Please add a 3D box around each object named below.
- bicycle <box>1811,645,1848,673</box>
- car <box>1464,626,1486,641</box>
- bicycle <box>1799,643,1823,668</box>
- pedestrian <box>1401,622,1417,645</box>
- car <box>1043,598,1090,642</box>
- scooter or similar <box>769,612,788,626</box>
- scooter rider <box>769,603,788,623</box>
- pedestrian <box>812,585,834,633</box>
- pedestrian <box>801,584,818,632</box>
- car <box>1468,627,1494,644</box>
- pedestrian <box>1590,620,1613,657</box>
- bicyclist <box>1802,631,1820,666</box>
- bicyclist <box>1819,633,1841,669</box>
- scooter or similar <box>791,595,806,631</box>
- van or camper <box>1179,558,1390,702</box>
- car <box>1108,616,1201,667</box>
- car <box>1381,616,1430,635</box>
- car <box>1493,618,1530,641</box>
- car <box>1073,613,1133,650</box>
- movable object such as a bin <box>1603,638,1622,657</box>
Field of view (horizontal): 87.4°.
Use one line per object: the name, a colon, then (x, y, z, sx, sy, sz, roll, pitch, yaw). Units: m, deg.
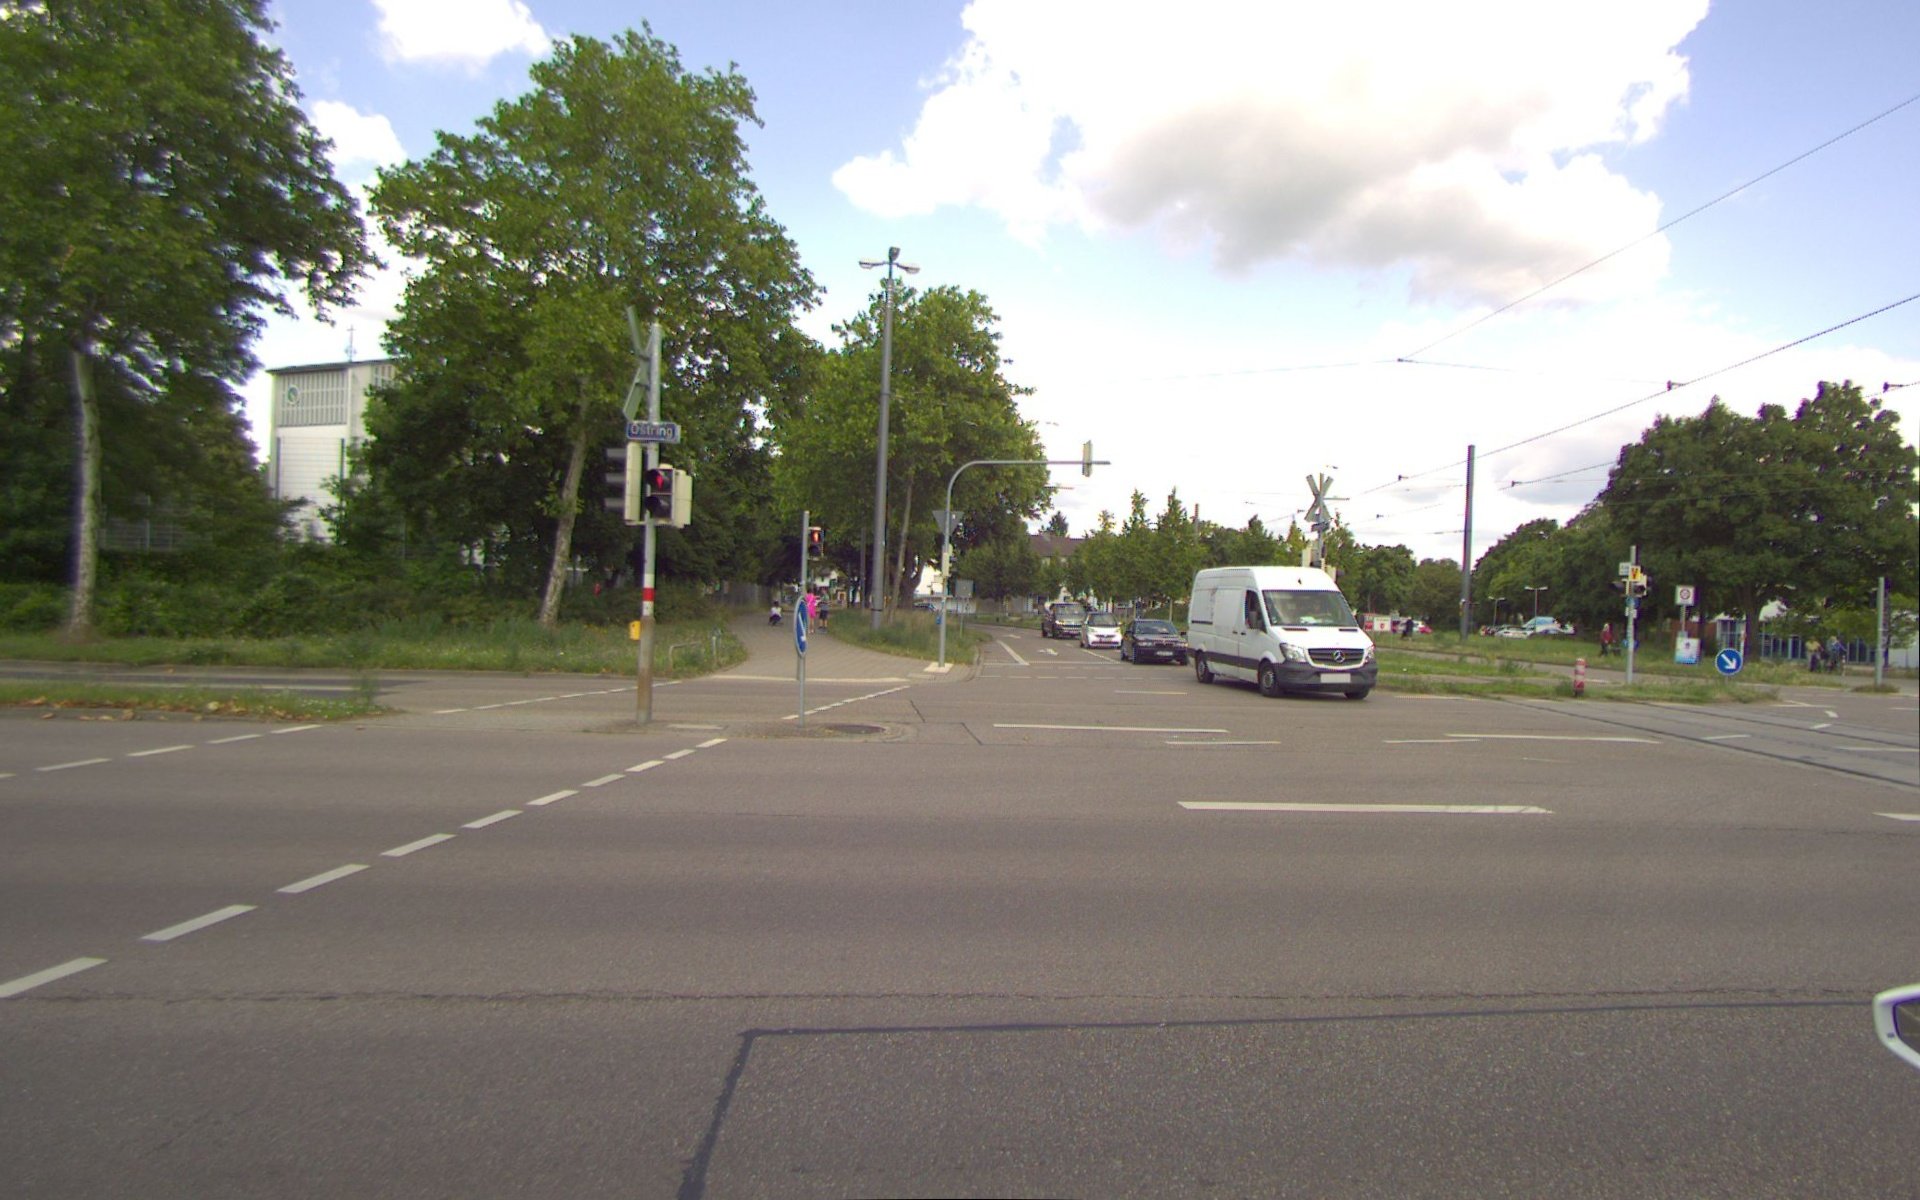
bicycle: (38.620, 2.620, 44.612, 0.551, 1.145, 1.381, 2, 0, 7)
car: (64.127, 4.175, 125.152, 1.961, 1.662, 4.389, 2, 0, 22)
bicycle: (39.896, 2.592, 47.092, 0.552, 1.145, 1.378, 2, 0, 29)
pedestrian: (27.194, 1.996, 60.819, 0.638, 1.372, 0.752, 0, 0, -3)
car: (5.690, 1.034, 54.116, 1.819, 2.184, 4.381, 2, 0, -2)
scooter or similar: (-6.863, 0.718, 37.962, 0.599, 0.518, 0.857, 0, 0, -3)
scooter rider: (-6.860, 0.482, 37.960, 0.600, 0.738, 0.859, 0, 0, -2)
pedestrian: (-4.825, 0.316, 35.476, 0.620, 1.641, 0.611, 1, 0, 5)
pedestrian: (-5.205, 0.262, 34.706, 0.413, 1.641, 0.596, 1, 0, 6)
car: (55.159, 3.694, 106.408, 1.961, 1.662, 4.389, 2, 0, 22)
pedestrian: (28.965, 1.726, 45.368, 0.603, 1.666, 0.636, 0, 0, -17)
bicyclist: (39.900, 2.266, 47.081, 0.478, 1.574, 0.555, 3, 1, 28)
bicyclist: (38.643, 2.259, 44.618, 0.477, 1.574, 0.556, 2, 0, 8)
scooter or similar: (-5.608, 0.440, 34.892, 0.315, 1.248, 0.776, 0, 0, 8)
van or camper: (6.483, 0.552, 21.028, 1.945, 2.558, 6.031, 0, 0, -6)
car: (6.078, 1.286, 31.877, 1.777, 1.450, 4.467, 2, -1, -4)
car: (40.121, 2.311, 90.505, 3.923, 1.550, 1.999, 2, 0, 23)
car: (42.428, 2.242, 77.331, 1.961, 1.662, 4.389, 2, 0, 22)
car: (6.171, 1.334, 43.845, 1.776, 1.450, 4.381, 2, 0, -2)
movable object such as a bin: (29.118, 2.136, 44.850, 0.570, 0.822, 0.458, 0, 0, -19)
